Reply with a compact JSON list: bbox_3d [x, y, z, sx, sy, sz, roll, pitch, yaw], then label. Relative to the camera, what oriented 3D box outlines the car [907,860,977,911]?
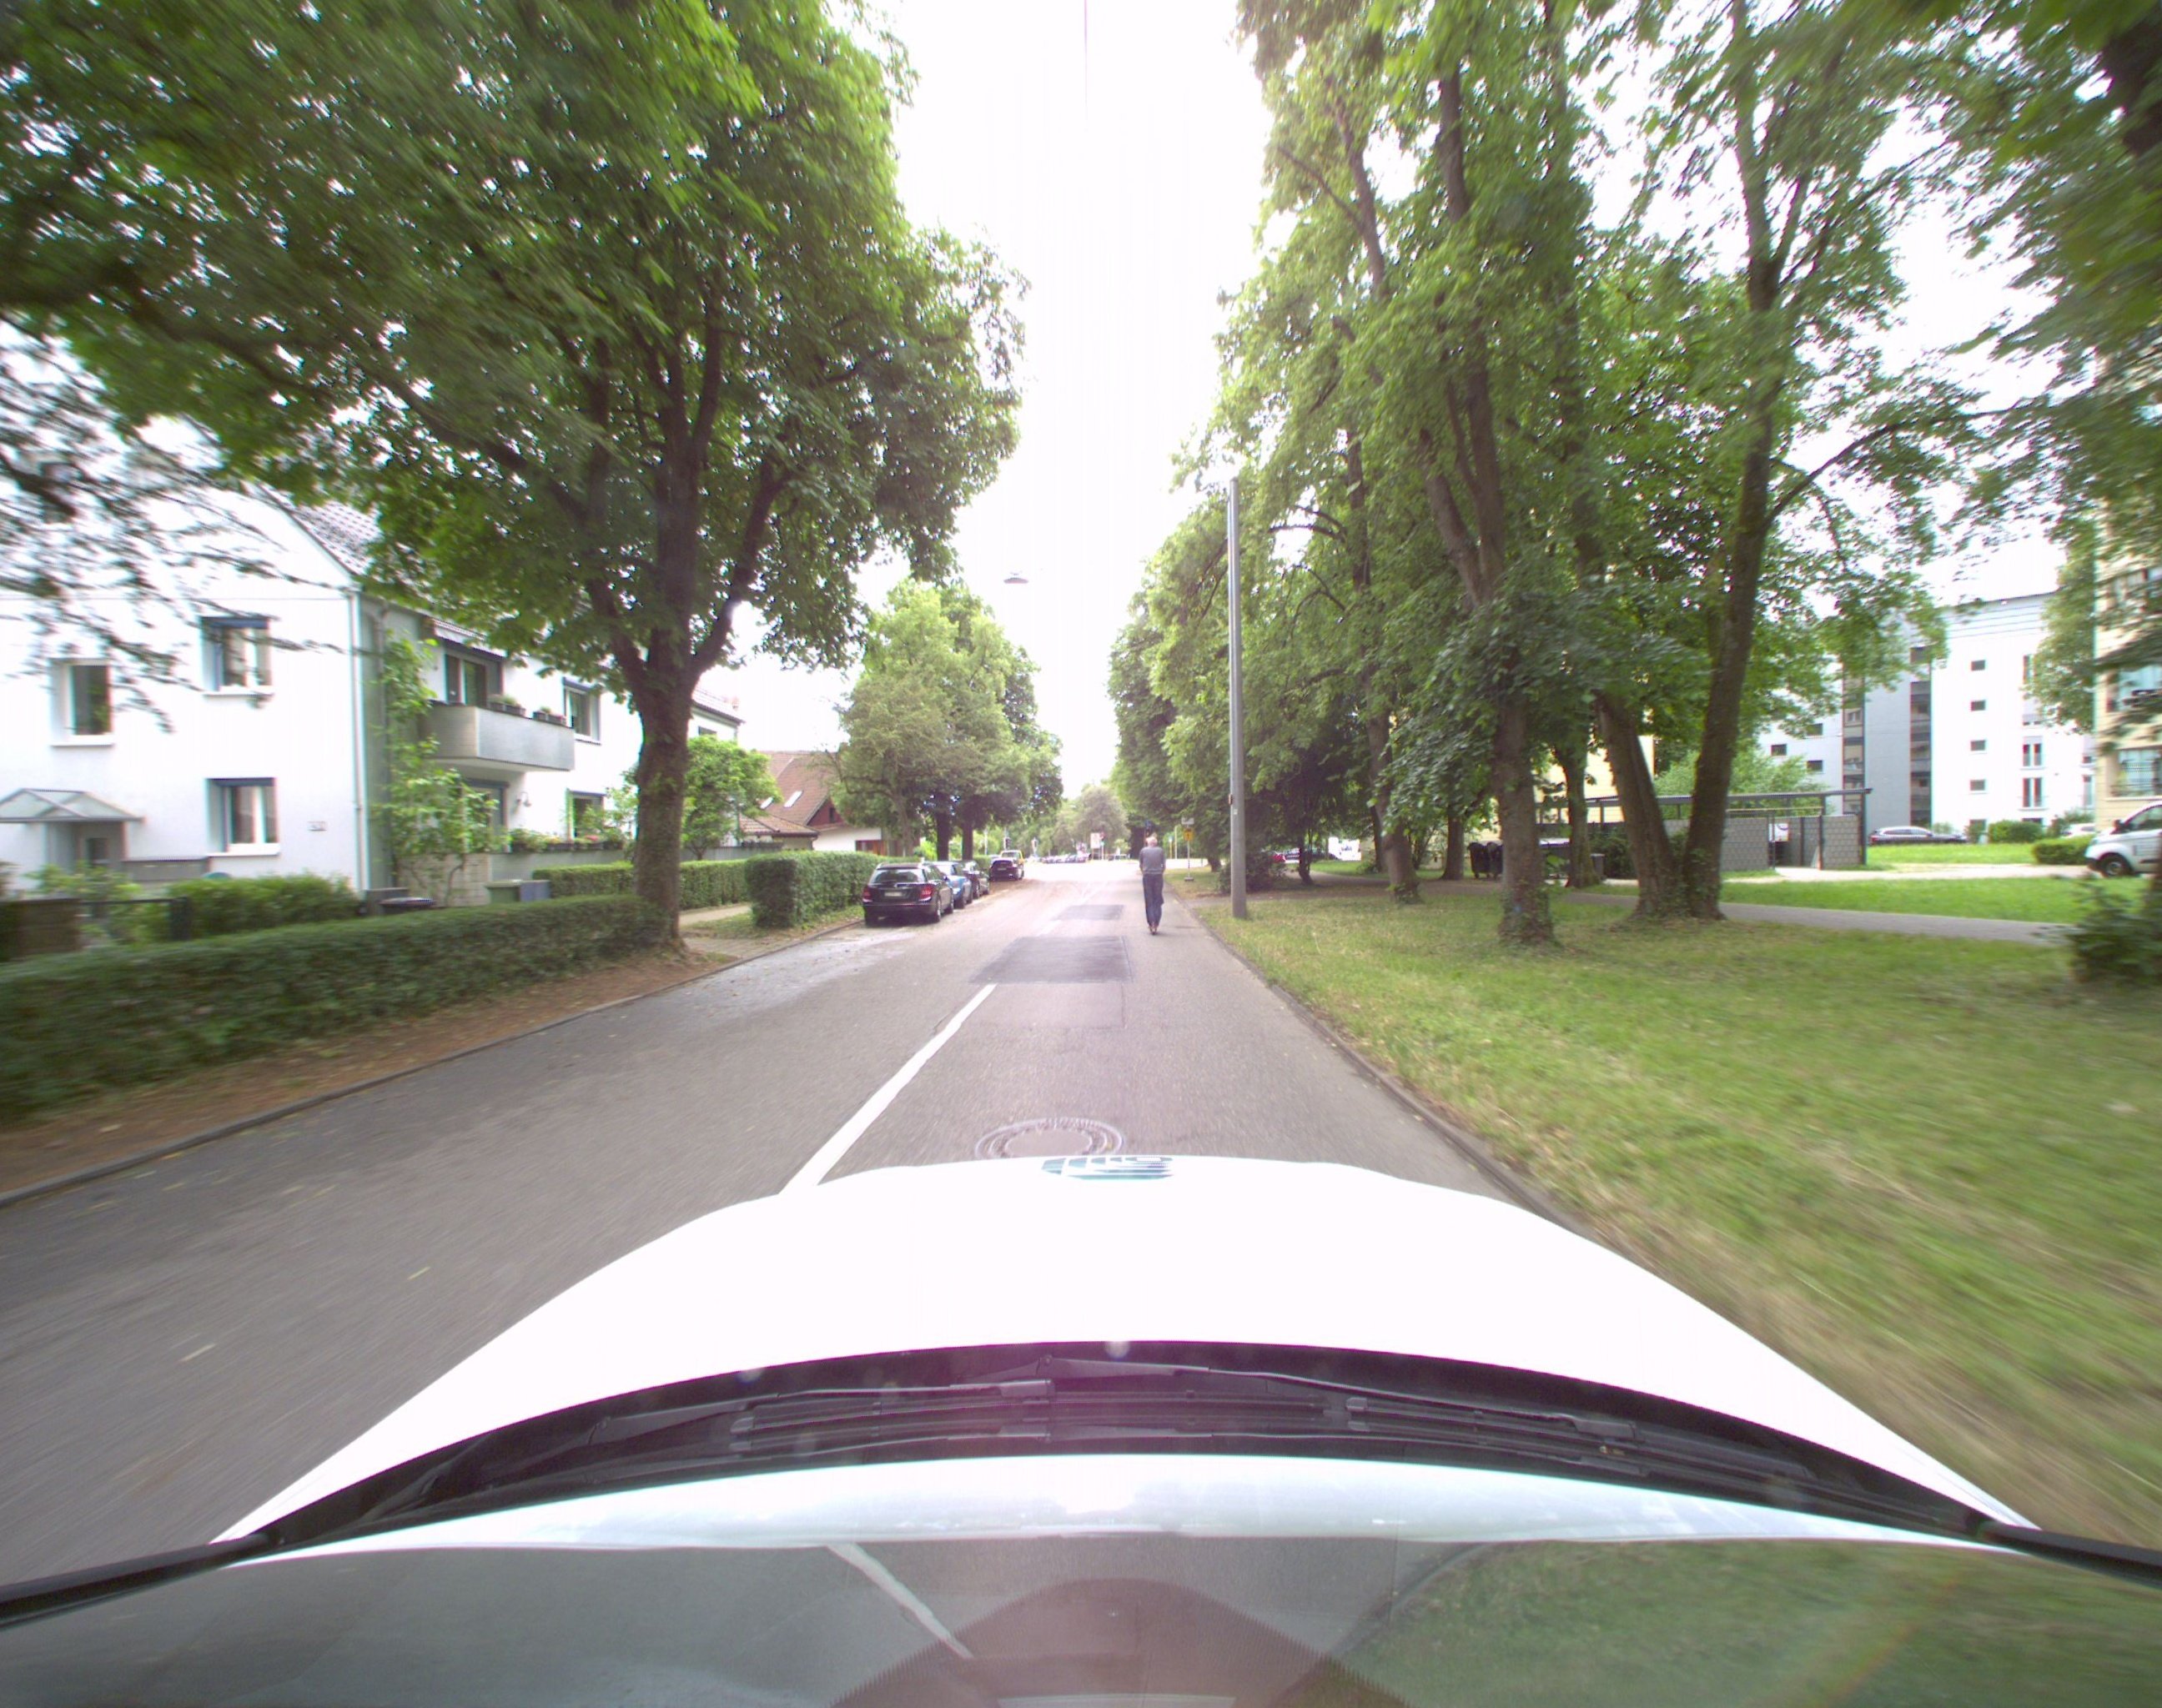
[{"bbox_3d":[-4.263,0.926,25.489,1.660,1.391,3.703,-2,0,-2],"label":"car"}]

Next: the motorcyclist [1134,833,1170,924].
[{"bbox_3d":[1.395,0.481,16.083,0.670,1.761,0.639,0,0,1],"label":"motorcyclist"}]

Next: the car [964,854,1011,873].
[{"bbox_3d":[-8.039,0.811,70.478,3.982,1.510,1.797,-1,2,-6],"label":"car"}]

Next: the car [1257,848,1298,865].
[{"bbox_3d":[19.615,0.221,81.566,3.960,1.557,1.807,0,3,12],"label":"car"}]

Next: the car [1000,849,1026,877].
[{"bbox_3d":[-5.214,0.698,62.437,1.855,1.964,4.495,-2,-1,-6],"label":"car"}]

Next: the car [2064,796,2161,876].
[{"bbox_3d":[25.797,-0.439,18.191,2.074,1.842,4.979,-3,1,8],"label":"car"}]

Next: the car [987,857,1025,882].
[{"bbox_3d":[-4.706,0.955,51.391,1.885,1.410,4.553,-2,-1,0],"label":"car"}]

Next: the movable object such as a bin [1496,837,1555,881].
[{"bbox_3d":[16.058,0.186,29.471,1.323,1.501,1.313,-2,0,-3],"label":"movable object such as a bin"}]

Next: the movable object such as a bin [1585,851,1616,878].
[{"bbox_3d":[17.555,0.346,27.526,0.597,0.878,0.668,-2,0,-3],"label":"movable object such as a bin"}]

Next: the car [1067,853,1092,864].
[{"bbox_3d":[-0.242,0.740,132.615,3.978,1.510,1.798,-2,0,-3],"label":"car"}]

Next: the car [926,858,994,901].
[{"bbox_3d":[-4.507,0.914,31.068,1.788,1.410,4.645,-2,0,1],"label":"car"}]

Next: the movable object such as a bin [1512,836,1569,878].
[{"bbox_3d":[17.420,0.123,30.909,1.323,1.501,1.313,-2,0,-3],"label":"movable object such as a bin"}]

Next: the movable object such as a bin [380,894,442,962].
[{"bbox_3d":[-9.695,1.059,11.795,0.455,0.915,0.507,-2,0,-7],"label":"movable object such as a bin"}]

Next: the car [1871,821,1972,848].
[{"bbox_3d":[54.344,-1.249,52.757,4.280,1.510,1.812,-2,-1,37],"label":"car"}]

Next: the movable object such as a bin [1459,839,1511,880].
[{"bbox_3d":[15.940,0.210,32.190,1.323,1.501,1.313,-2,0,-3],"label":"movable object such as a bin"}]

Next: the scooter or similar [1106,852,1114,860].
[{"bbox_3d":[3.548,0.231,99.993,0.704,1.049,0.791,-2,-1,19],"label":"scooter or similar"}]

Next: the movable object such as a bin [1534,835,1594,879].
[{"bbox_3d":[17.477,0.114,29.533,1.323,1.501,1.313,-2,0,-3],"label":"movable object such as a bin"}]

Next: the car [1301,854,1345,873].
[{"bbox_3d":[23.861,0.939,80.258,3.951,1.726,1.811,1,3,25],"label":"car"}]

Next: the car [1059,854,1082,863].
[{"bbox_3d":[-1.891,0.802,143.307,3.978,1.510,1.798,-2,0,-3],"label":"car"}]

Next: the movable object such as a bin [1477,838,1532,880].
[{"bbox_3d":[16.002,0.198,30.833,1.323,1.501,1.313,-2,0,-3],"label":"movable object such as a bin"}]

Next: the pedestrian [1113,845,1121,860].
[{"bbox_3d":[4.419,-0.168,99.659,0.726,1.762,0.665,-2,-1,19],"label":"pedestrian"}]

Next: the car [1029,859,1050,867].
[{"bbox_3d":[-8.156,1.789,159.540,3.978,1.510,1.798,-2,0,-3],"label":"car"}]

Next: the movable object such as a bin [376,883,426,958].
[{"bbox_3d":[-10.223,0.991,12.249,0.380,1.089,0.405,-2,0,-6],"label":"movable object such as a bin"}]

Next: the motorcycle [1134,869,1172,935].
[{"bbox_3d":[1.393,0.916,15.948,0.670,1.217,1.274,0,0,1],"label":"motorcycle"}]

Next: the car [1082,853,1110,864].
[{"bbox_3d":[2.216,0.620,122.259,3.978,1.510,1.798,-2,0,-3],"label":"car"}]

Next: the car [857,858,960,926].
[{"bbox_3d":[-4.248,0.869,20.682,1.790,1.472,4.414,-2,0,-3],"label":"car"}]

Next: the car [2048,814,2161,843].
[{"bbox_3d":[59.965,-1.476,47.564,4.282,1.510,1.811,-2,-1,45],"label":"car"}]

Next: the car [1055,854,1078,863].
[{"bbox_3d":[-2.630,0.813,145.193,3.978,1.510,1.798,-2,0,-3],"label":"car"}]
